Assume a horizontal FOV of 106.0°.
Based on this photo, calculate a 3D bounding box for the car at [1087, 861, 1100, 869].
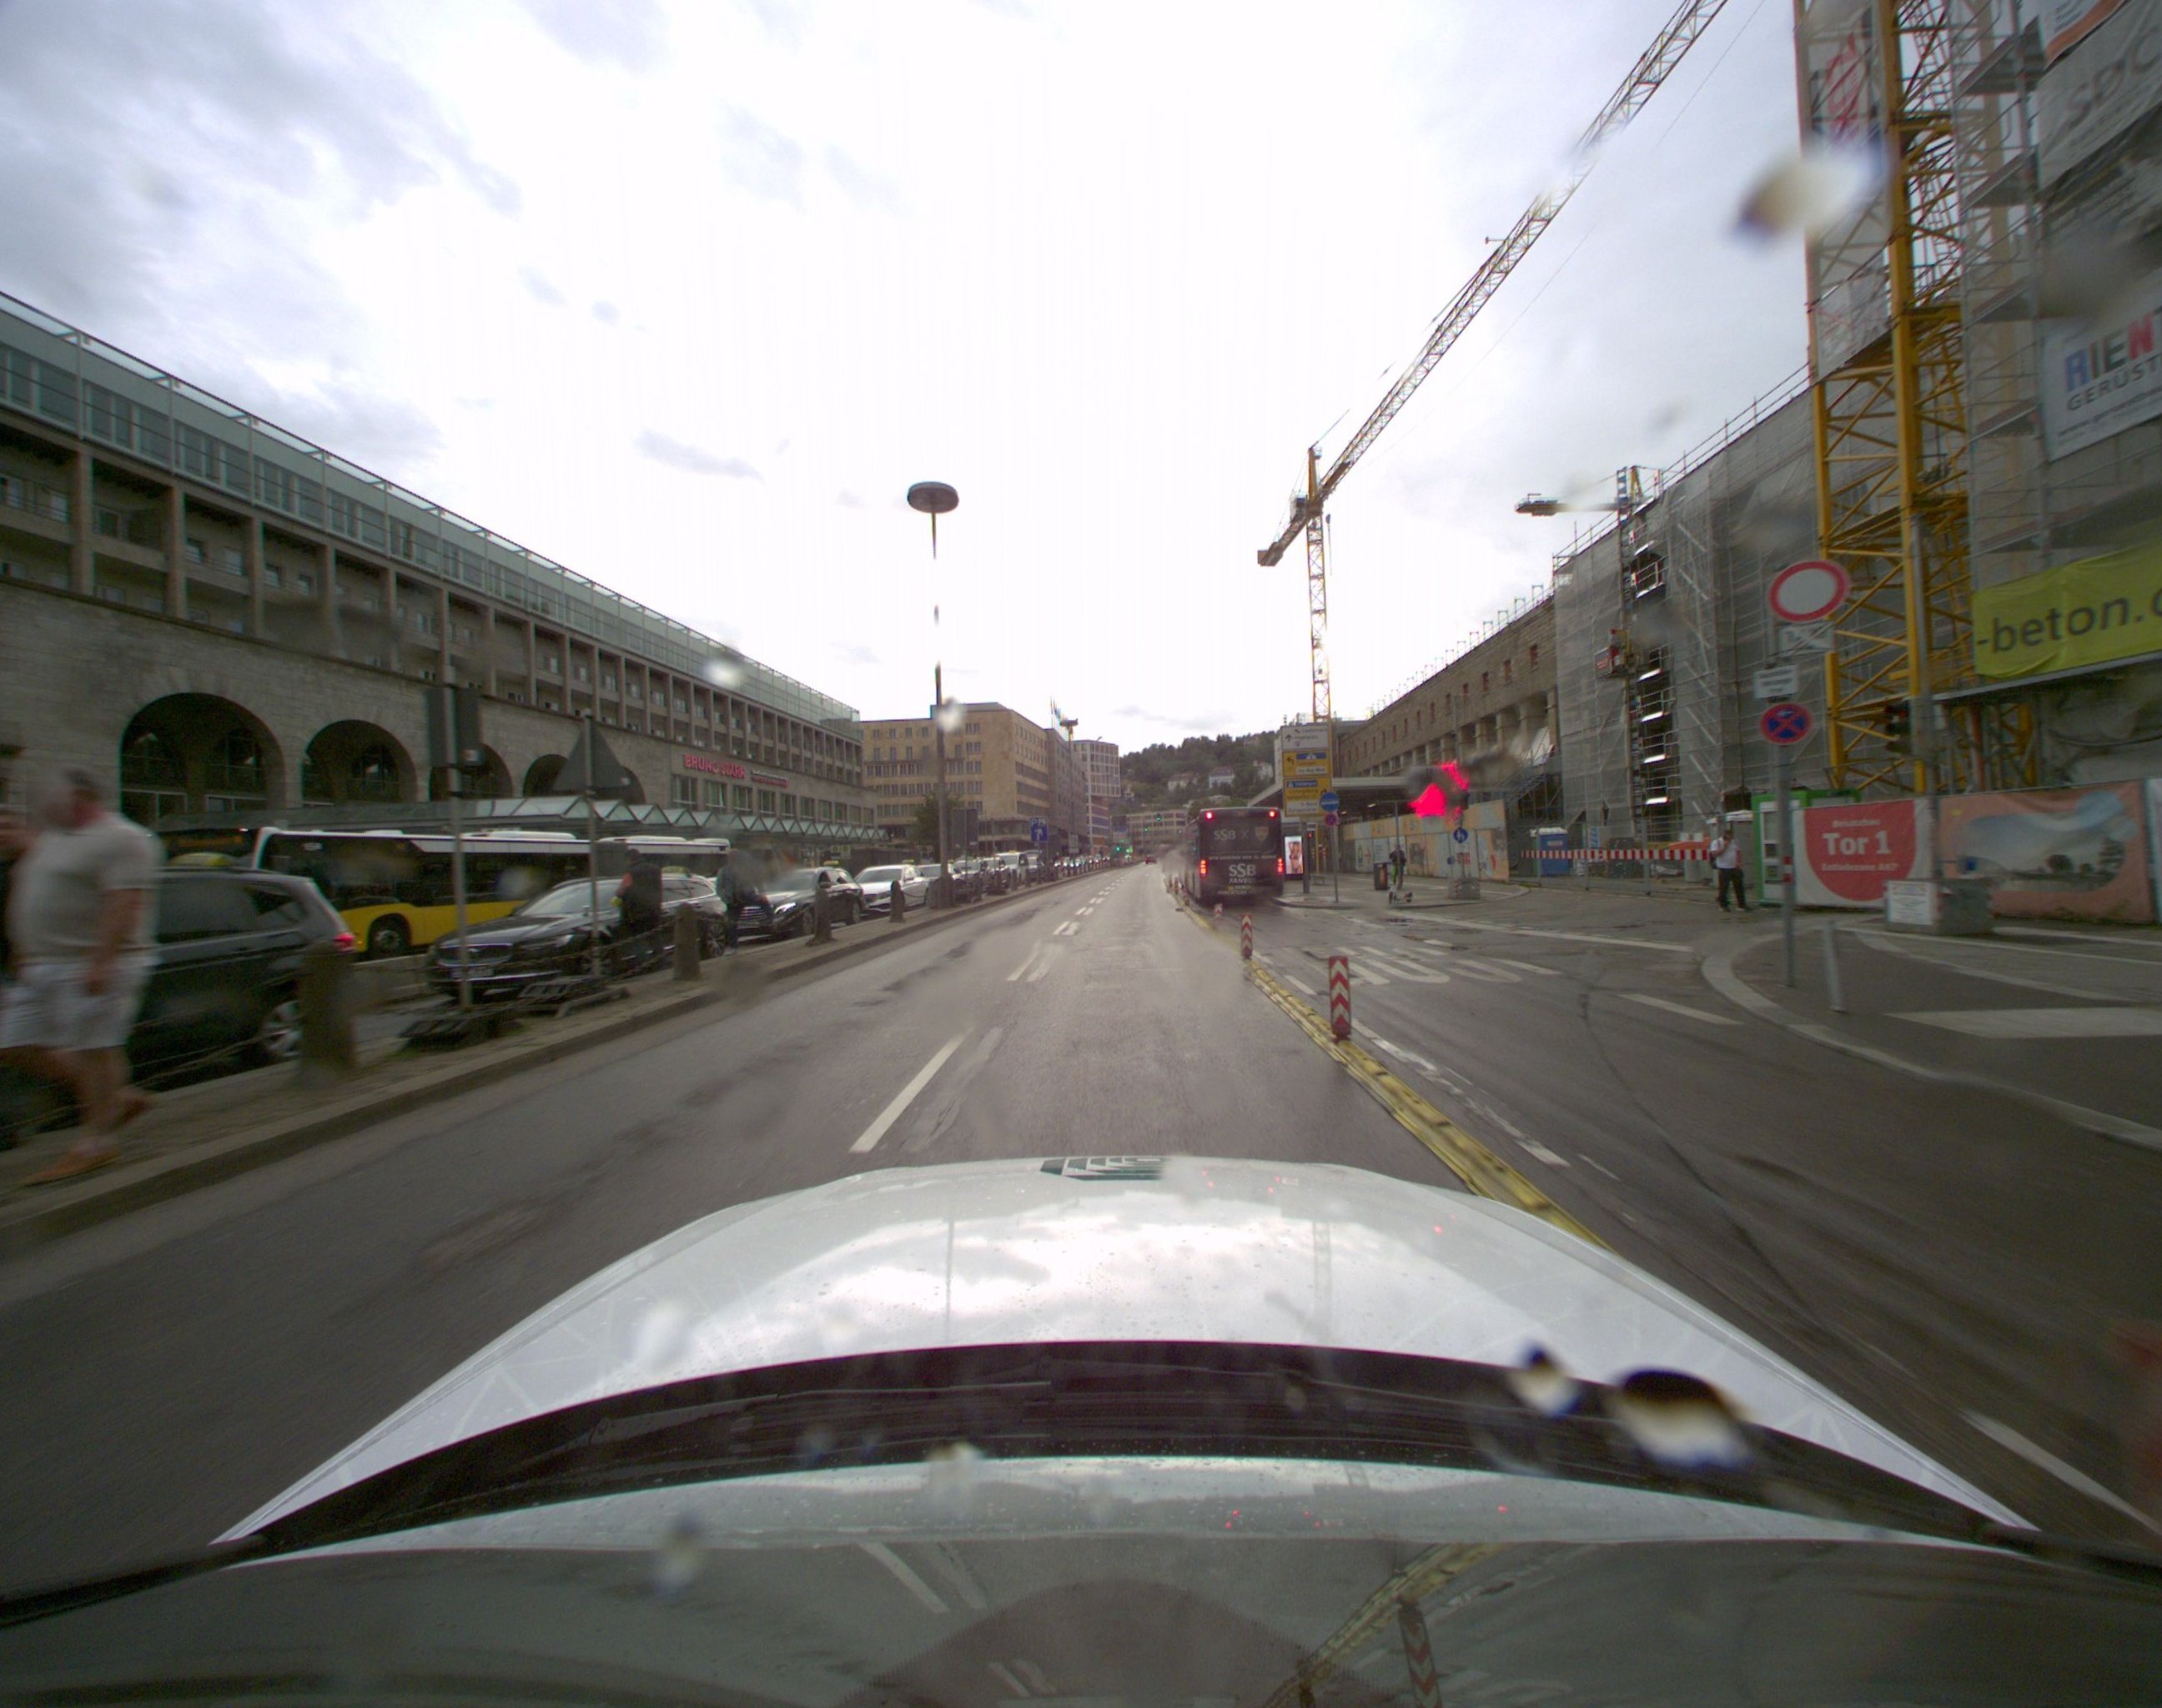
[{"bbox_3d":[2.673,2.218,168.250,1.982,1.617,4.989,-2,-1,8],"label":"car"}]

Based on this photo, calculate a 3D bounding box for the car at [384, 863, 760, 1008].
[{"bbox_3d":[-6.940,0.974,12.052,1.921,1.576,5.266,-3,-1,4],"label":"car"}]

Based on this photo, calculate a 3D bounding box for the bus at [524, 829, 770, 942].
[{"bbox_3d":[-15.694,1.007,30.891,2.864,3.460,10.587,-2,0,5],"label":"bus"}]

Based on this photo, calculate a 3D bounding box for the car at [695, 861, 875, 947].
[{"bbox_3d":[-6.427,1.004,18.438,1.921,1.576,5.016,-3,-1,3],"label":"car"}]

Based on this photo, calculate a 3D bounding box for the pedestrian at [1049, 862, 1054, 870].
[{"bbox_3d":[-5.458,2.210,150.490,0.717,1.557,0.897,-2,-1,9],"label":"pedestrian"}]

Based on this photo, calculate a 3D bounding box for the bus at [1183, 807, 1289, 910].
[{"bbox_3d":[5.198,0.189,28.937,2.742,3.069,9.091,-1,-1,5],"label":"bus"}]

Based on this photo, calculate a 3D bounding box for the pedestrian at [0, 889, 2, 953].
[{"bbox_3d":[-34.505,2.119,25.460,0.573,2.014,0.709,-2,-1,3],"label":"pedestrian"}]

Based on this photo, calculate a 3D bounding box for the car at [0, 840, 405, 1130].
[{"bbox_3d":[-7.274,0.824,5.085,1.921,1.690,4.686,-3,-1,3],"label":"car"}]

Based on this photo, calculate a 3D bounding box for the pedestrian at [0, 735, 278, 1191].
[{"bbox_3d":[-4.689,0.483,3.995,0.719,2.008,0.773,-1,0,4],"label":"pedestrian"}]

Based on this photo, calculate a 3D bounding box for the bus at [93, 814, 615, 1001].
[{"bbox_3d":[-16.537,1.016,20.365,2.864,3.376,10.587,-2,0,5],"label":"bus"}]

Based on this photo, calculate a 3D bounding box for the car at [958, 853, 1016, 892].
[{"bbox_3d":[-4.763,0.934,41.914,1.920,1.806,4.589,-4,-1,5],"label":"car"}]

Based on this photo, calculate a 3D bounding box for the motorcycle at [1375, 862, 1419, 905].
[{"bbox_3d":[8.978,0.820,23.130,0.579,1.166,1.627,-2,-1,43],"label":"motorcycle"}]

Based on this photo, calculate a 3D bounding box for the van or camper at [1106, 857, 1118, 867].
[{"bbox_3d":[6.764,1.720,178.100,1.982,2.014,5.200,-2,-1,8],"label":"van or camper"}]

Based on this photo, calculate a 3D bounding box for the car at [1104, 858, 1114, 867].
[{"bbox_3d":[6.620,1.999,193.749,1.982,2.014,4.009,-2,-1,8],"label":"car"}]

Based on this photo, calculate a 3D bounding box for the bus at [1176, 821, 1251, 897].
[{"bbox_3d":[5.956,0.264,37.974,2.742,3.066,9.004,-1,-1,5],"label":"bus"}]

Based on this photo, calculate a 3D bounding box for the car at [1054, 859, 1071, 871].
[{"bbox_3d":[-2.776,1.701,124.482,1.953,1.564,4.841,-4,0,5],"label":"car"}]

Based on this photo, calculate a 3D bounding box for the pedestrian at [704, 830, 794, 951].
[{"bbox_3d":[-5.037,0.550,12.391,1.046,1.768,0.617,-2,-1,3],"label":"pedestrian"}]

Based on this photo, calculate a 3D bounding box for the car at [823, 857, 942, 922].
[{"bbox_3d":[-5.840,0.991,24.692,1.968,1.659,5.197,-3,-1,3],"label":"car"}]

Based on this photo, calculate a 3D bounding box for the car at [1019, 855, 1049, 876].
[{"bbox_3d":[-3.731,0.936,65.348,1.986,1.552,4.002,-2,-1,2],"label":"car"}]

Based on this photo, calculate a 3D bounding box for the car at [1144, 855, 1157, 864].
[{"bbox_3d":[12.142,0.961,142.055,1.983,1.552,4.006,-2,-1,6],"label":"car"}]

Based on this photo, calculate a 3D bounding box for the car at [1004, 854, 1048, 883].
[{"bbox_3d":[-3.491,0.905,52.736,1.983,1.722,4.789,-2,0,6],"label":"car"}]

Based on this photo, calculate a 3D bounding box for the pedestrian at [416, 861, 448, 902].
[{"bbox_3d":[-25.698,1.077,32.234,0.627,1.567,0.758,-1,0,6],"label":"pedestrian"}]

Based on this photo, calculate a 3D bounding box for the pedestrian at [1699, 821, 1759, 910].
[{"bbox_3d":[14.008,0.245,17.612,0.642,1.847,0.659,-5,-1,4],"label":"pedestrian"}]

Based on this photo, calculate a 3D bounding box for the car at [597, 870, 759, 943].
[{"bbox_3d":[-11.086,1.372,22.869,1.921,1.690,4.686,-3,-1,3],"label":"car"}]

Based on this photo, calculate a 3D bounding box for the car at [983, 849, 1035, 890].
[{"bbox_3d":[-4.100,0.859,47.361,1.984,2.178,5.552,-2,0,5],"label":"car"}]

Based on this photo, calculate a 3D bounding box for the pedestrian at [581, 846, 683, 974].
[{"bbox_3d":[-5.861,0.700,10.684,0.719,1.606,0.997,-1,0,4],"label":"pedestrian"}]

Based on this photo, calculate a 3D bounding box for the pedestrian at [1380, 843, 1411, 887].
[{"bbox_3d":[11.955,0.425,30.949,0.898,1.635,0.833,-2,-1,31],"label":"pedestrian"}]

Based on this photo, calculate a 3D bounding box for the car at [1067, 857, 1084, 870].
[{"bbox_3d":[-0.805,1.329,116.716,1.953,1.564,4.841,-4,0,5],"label":"car"}]

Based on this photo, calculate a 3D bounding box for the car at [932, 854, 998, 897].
[{"bbox_3d":[-5.154,0.950,36.852,1.921,1.699,4.889,-3,-1,3],"label":"car"}]

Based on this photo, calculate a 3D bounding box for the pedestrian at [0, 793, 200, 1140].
[{"bbox_3d":[-5.623,0.578,4.499,0.695,1.755,0.712,-2,0,4],"label":"pedestrian"}]

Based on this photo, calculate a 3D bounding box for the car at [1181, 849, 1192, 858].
[{"bbox_3d":[20.067,-0.081,154.855,1.983,1.706,4.007,-2,-1,6],"label":"car"}]

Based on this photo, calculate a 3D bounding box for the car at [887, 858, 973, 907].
[{"bbox_3d":[-5.515,1.004,30.479,1.921,1.576,5.056,-3,-1,3],"label":"car"}]
